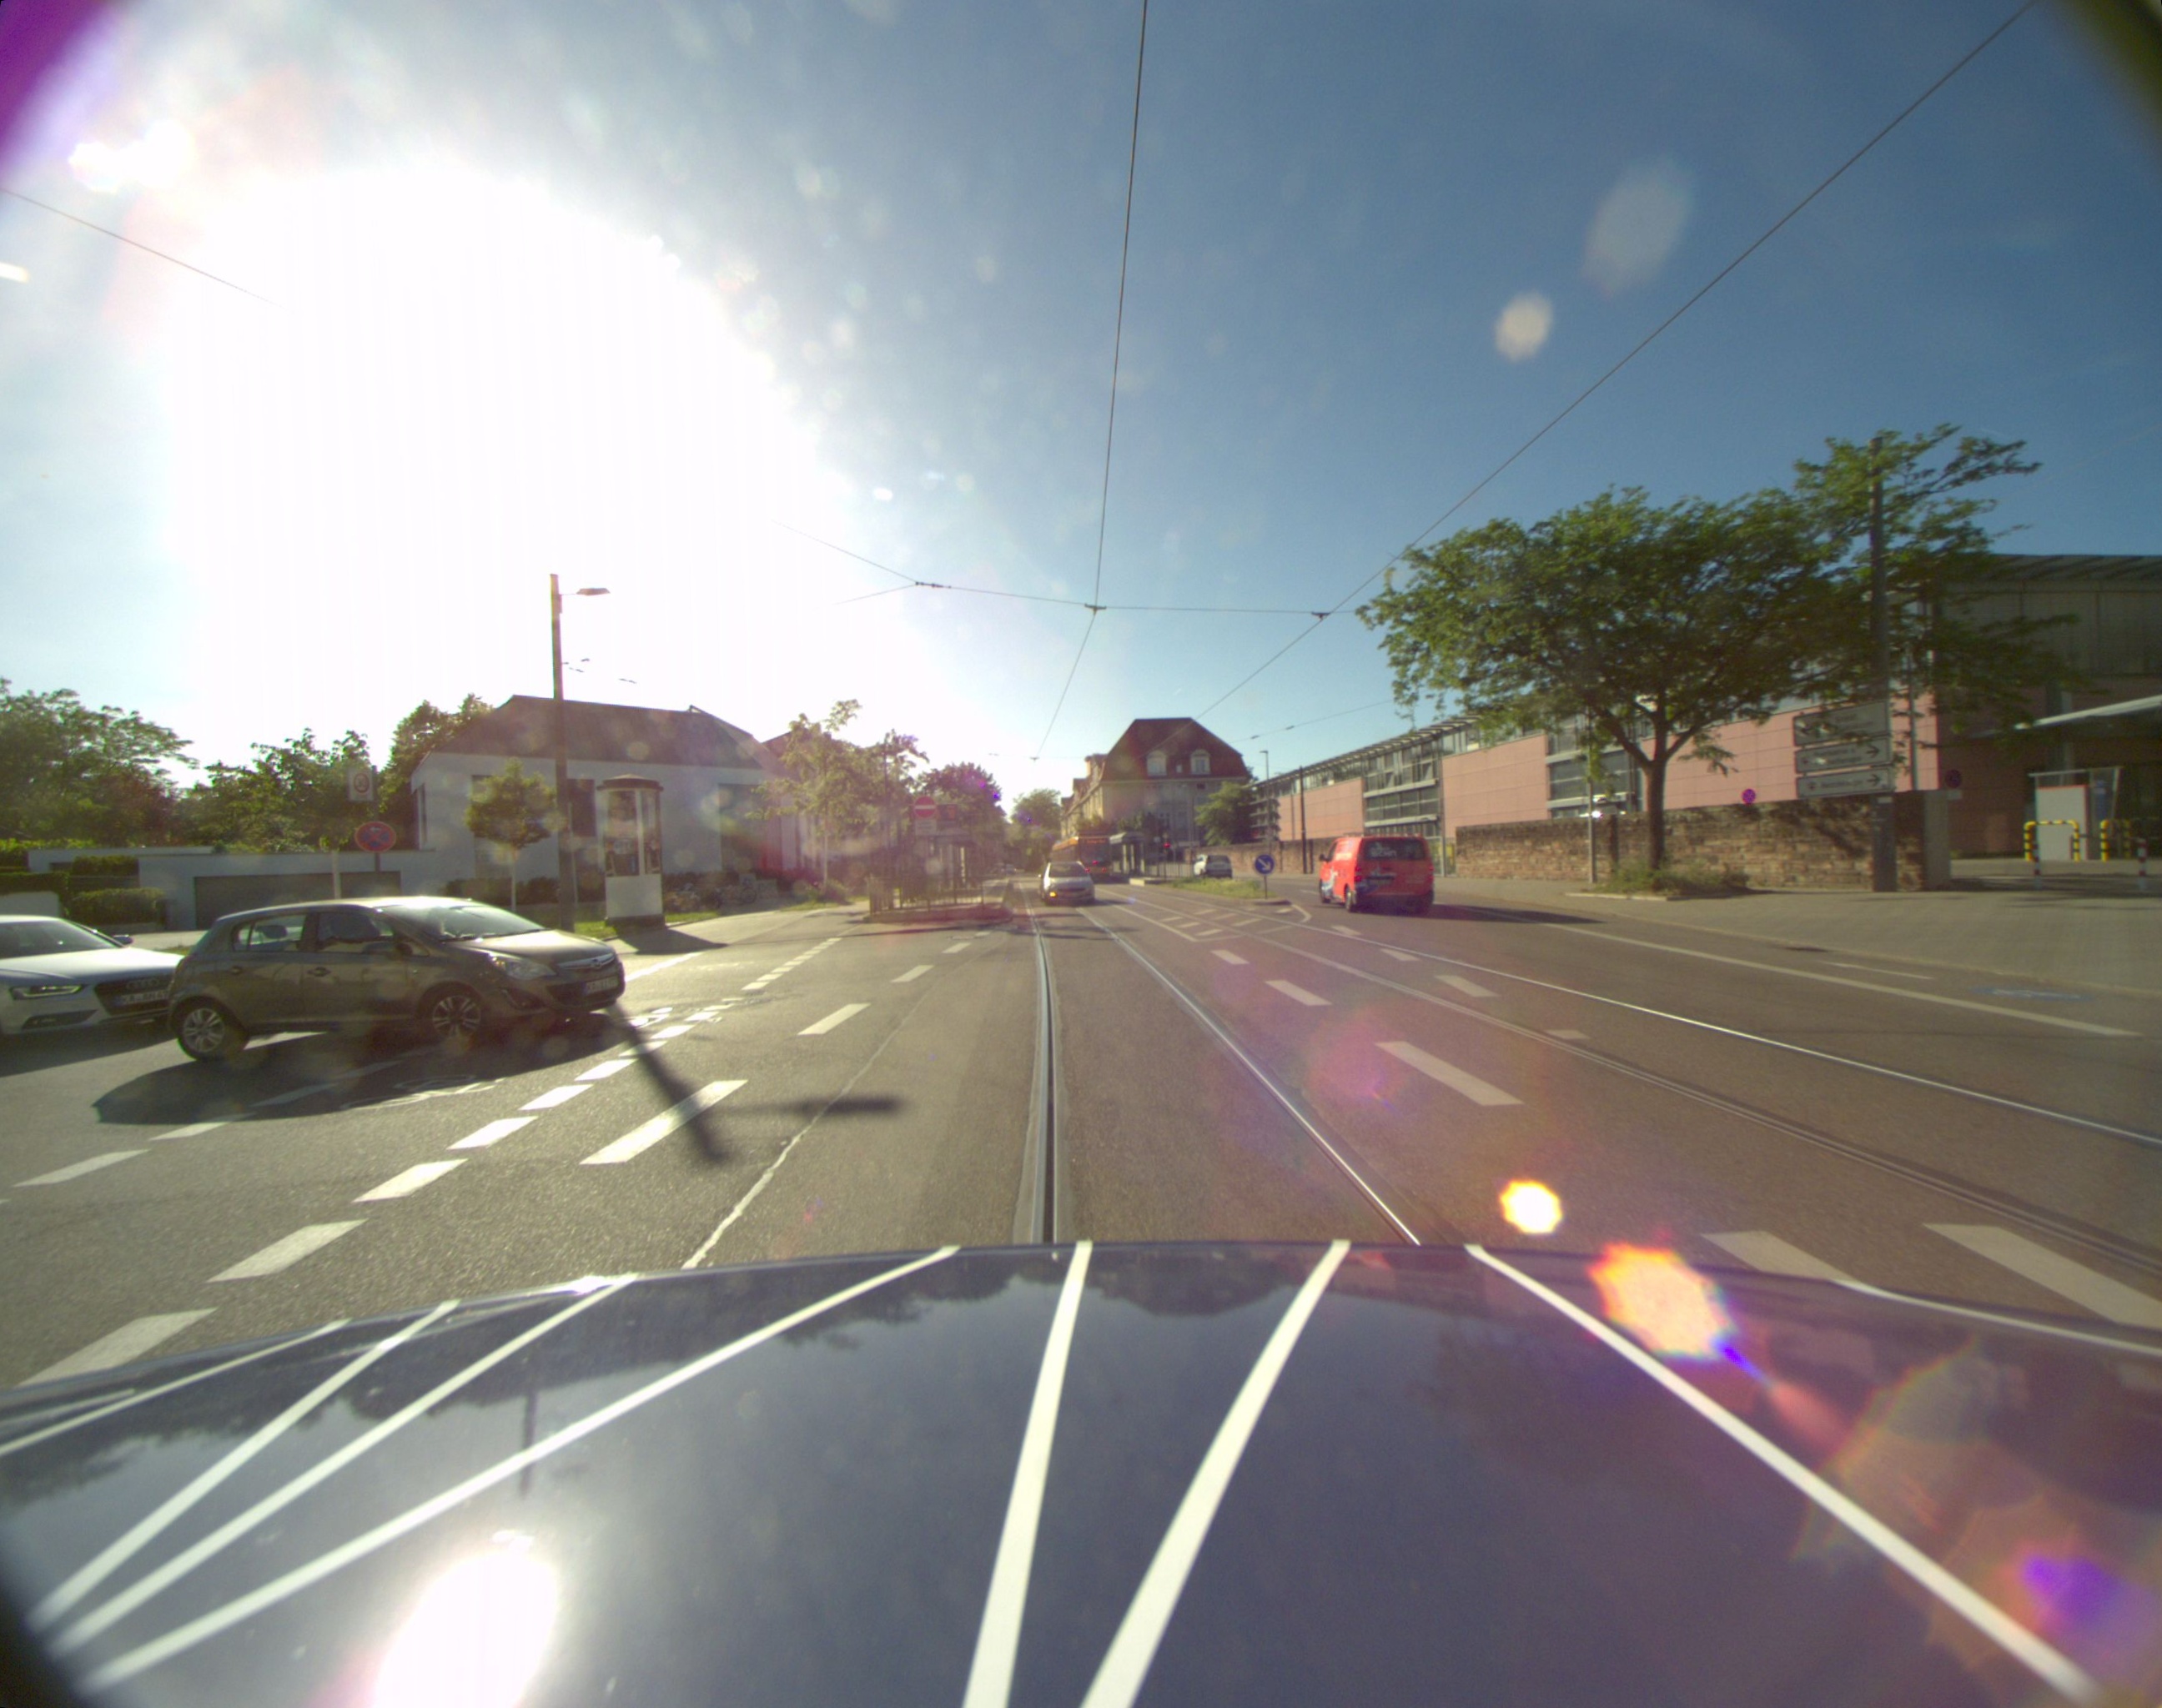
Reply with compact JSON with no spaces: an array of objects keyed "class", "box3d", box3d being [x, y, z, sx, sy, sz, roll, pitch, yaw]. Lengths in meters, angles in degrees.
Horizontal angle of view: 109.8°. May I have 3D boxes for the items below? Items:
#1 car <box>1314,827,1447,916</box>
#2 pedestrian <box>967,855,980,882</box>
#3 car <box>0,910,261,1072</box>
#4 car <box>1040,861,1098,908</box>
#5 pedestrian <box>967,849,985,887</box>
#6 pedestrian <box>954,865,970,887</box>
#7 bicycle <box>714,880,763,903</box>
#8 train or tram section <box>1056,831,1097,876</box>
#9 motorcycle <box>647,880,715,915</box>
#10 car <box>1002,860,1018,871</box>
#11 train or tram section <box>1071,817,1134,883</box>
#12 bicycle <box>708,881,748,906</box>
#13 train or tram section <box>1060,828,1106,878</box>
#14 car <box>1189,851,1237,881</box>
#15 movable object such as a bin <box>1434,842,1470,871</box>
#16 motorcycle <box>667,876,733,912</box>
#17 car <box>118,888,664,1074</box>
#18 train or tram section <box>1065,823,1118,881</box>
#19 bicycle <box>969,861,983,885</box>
[{"class":"car","box3d":[7.514,0.397,19.604,1.997,1.954,4.936,-2,0,8]},{"class":"pedestrian","box3d":[-7.134,0.958,50.406,0.673,1.694,0.690,-4,0,-6]},{"class":"car","box3d":[-12.950,1.548,9.006,4.612,1.458,1.982,-2,2,7]},{"class":"car","box3d":[-0.495,0.992,26.283,1.742,1.450,3.692,-2,0,-4]},{"class":"pedestrian","box3d":[-5.271,0.700,38.016,0.713,1.843,0.729,-4,0,-3]},{"class":"pedestrian","box3d":[-6.500,1.188,41.438,0.740,1.111,0.658,-4,0,-5]},{"class":"bicycle","box3d":[-15.432,1.684,34.249,1.904,0.973,0.491,-2,0,-11]},{"class":"train or tram section","box3d":[-0.498,0.006,63.984,2.812,3.439,6.665,-3,0,-5]},{"class":"motorcycle","box3d":[-14.594,1.572,27.770,2.005,1.151,0.861,-2,0,-11]},{"class":"car","box3d":[-9.962,1.632,106.685,1.744,1.450,3.689,-2,0,-13]},{"class":"train or tram section","box3d":[1.124,-0.176,44.159,2.812,3.439,6.665,-3,0,-5]},{"class":"bicycle","box3d":[-15.233,1.700,32.774,1.475,0.973,0.415,-2,0,-11]},{"class":"train or tram section","box3d":[0.046,-0.048,57.295,2.812,3.439,6.665,-3,0,-5]},{"class":"car","box3d":[7.670,0.675,44.540,1.770,1.654,4.208,-2,0,-4]},{"class":"movable object such as a bin","box3d":[16.949,0.116,34.736,0.883,1.277,1.308,-2,0,-6]},{"class":"motorcycle","box3d":[-14.640,1.524,29.276,2.084,1.267,0.861,-2,0,-11]},{"class":"car","box3d":[-6.927,1.228,7.953,3.995,1.499,1.983,-3,0,5]},{"class":"train or tram section","box3d":[0.587,-0.101,50.645,2.812,3.439,6.665,-3,0,-5]},{"class":"bicycle","box3d":[-5.541,1.003,40.114,0.621,1.222,1.965,-3,0,-9]}]
